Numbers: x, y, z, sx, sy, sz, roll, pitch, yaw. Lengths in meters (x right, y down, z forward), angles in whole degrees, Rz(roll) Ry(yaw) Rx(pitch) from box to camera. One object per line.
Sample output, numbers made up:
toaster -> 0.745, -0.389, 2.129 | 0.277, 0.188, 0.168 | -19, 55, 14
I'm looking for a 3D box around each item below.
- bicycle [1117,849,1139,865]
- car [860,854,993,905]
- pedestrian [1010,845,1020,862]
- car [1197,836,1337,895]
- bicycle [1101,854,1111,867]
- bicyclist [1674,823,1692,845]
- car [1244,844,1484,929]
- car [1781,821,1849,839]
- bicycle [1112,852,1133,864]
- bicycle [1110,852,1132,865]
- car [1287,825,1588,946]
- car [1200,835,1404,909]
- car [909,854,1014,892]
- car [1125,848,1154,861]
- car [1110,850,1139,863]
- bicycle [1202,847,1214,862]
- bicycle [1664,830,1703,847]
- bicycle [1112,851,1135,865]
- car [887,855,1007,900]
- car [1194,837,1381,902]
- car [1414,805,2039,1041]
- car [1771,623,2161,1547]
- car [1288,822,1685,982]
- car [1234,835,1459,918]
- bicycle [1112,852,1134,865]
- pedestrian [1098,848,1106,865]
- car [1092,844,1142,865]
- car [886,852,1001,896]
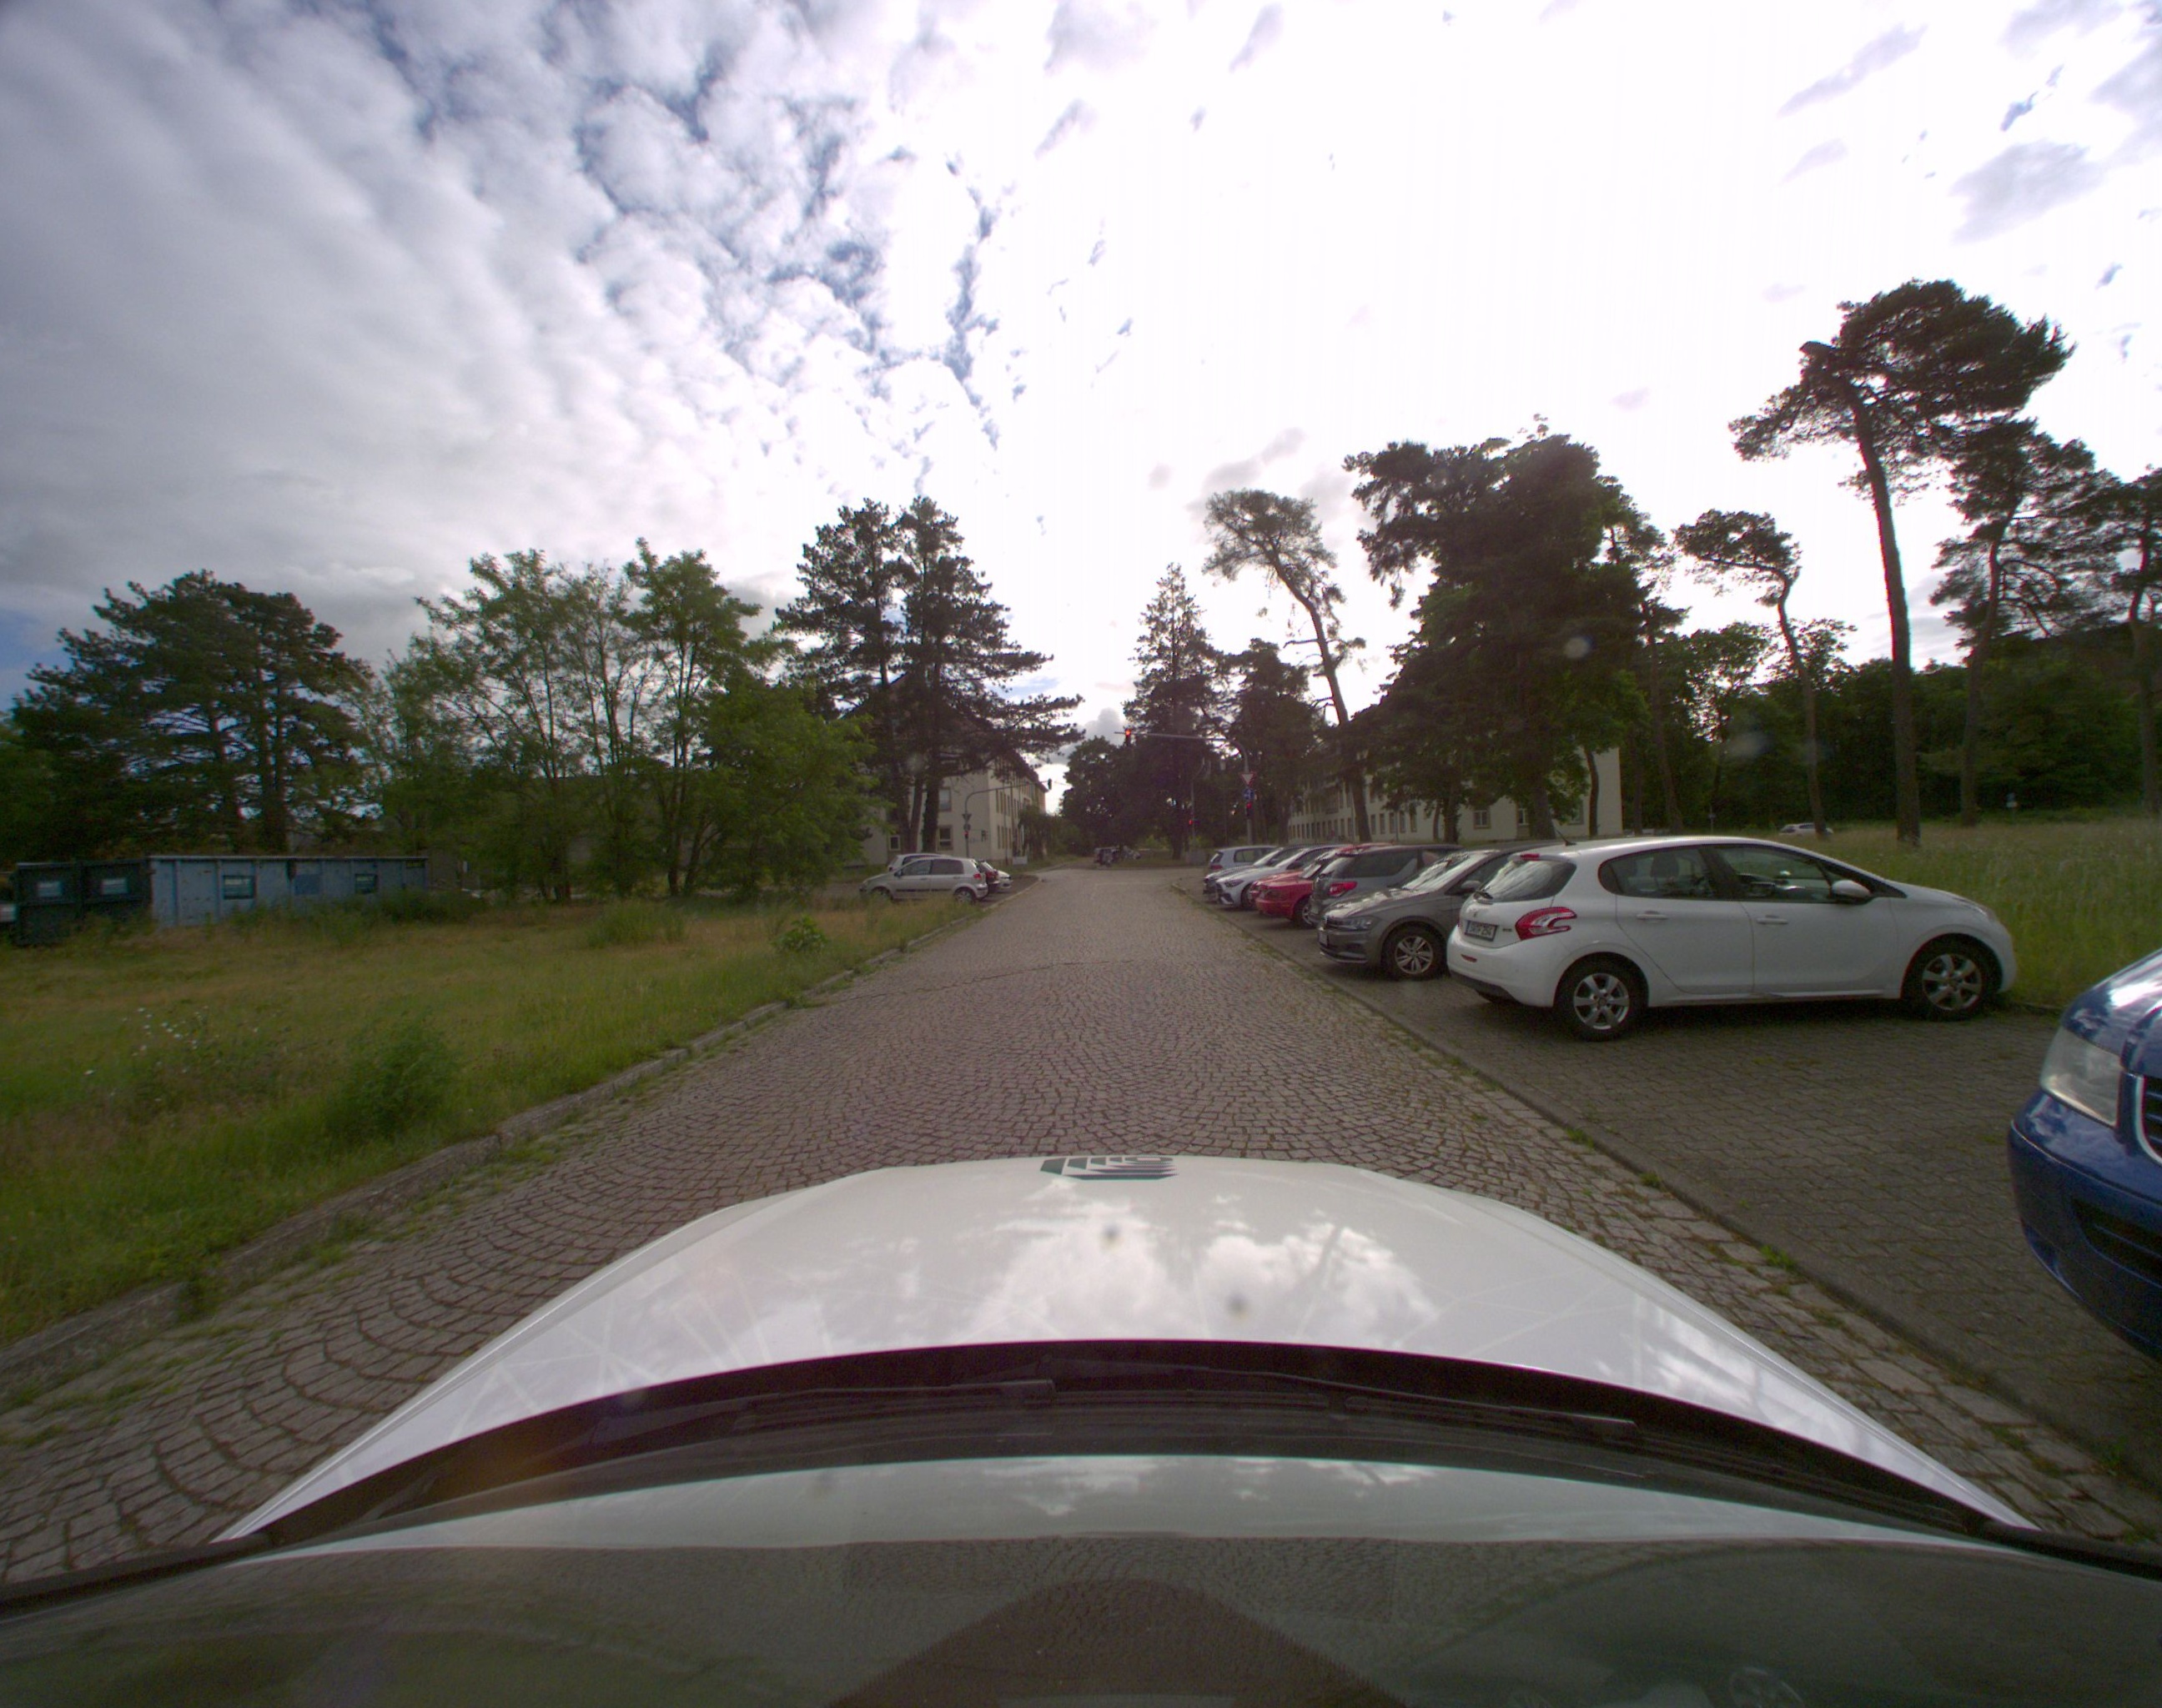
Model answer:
bicycle -> 4.390, 0.295, 75.538 | 1.952, 1.384, 0.587 | -2, 0, -6
car -> -4.598, 0.755, 24.578 | 3.692, 1.479, 1.581 | 0, 0, -2
pedestrian -> -7.282, 0.001, 90.063 | 0.779, 1.837, 0.734 | -2, 0, -30
car -> 5.666, 0.336, 25.172 | 3.911, 1.477, 1.644 | -4, 0, 3
bicycle -> 2.171, 0.551, 70.920 | 0.602, 1.132, 1.959 | -2, 0, -4
bicyclist -> 39.236, -1.289, 53.089 | 0.744, 1.410, 0.607 | -2, 0, 13
car -> 5.173, 0.566, 15.269 | 3.849, 1.236, 1.758 | -4, 0, 0
car -> 59.876, -1.940, 66.484 | 3.930, 1.421, 1.652 | 0, 0, 4
bicycle -> 3.965, 0.414, 77.550 | 1.966, 1.069, 0.582 | -2, 0, -28
bicycle -> 3.770, 0.423, 76.203 | 1.966, 1.069, 0.582 | -2, 0, -28
car -> 5.374, 0.446, 12.653 | 3.849, 1.472, 1.758 | -4, 0, 0
car -> 5.363, 0.408, 20.037 | 4.419, 1.416, 1.866 | -4, 0, -8
car -> -4.717, 0.742, 32.505 | 3.934, 1.421, 1.650 | 0, 0, 1
car -> 6.914, 0.050, 95.999 | 3.223, 1.416, 1.724 | -3, 0, -1
car -> 4.762, 0.314, 88.786 | 3.000, 1.268, 1.533 | -3, 0, -4
bicycle -> 9.646, 0.042, 61.846 | 0.584, 1.106, 1.962 | -2, 0, 2
bicycle -> 39.255, -0.999, 53.096 | 1.941, 1.024, 0.607 | -2, 0, 13
bicycle -> 3.870, 0.376, 74.083 | 1.952, 1.132, 0.587 | -2, 0, -6
car -> -4.417, 0.769, 27.174 | 3.735, 1.428, 1.581 | 0, 0, -2
car -> 5.666, 0.409, 22.719 | 4.667, 1.416, 1.870 | -4, 0, -1
car -> 5.147, 0.508, 6.915 | 3.849, 1.472, 1.758 | -4, 0, 0
car -> 4.624, 0.335, 1.576 | 4.792, 1.945, 2.003 | -4, 0, 0
car -> 4.685, 0.516, 9.793 | 3.853, 1.472, 1.756 | -4, 0, -3
car -> 5.663, 0.454, 17.761 | 4.246, 1.416, 1.872 | -4, 0, 1
bicycle -> 3.828, 0.400, 74.718 | 1.952, 1.117, 0.587 | -2, 0, -6
pedestrian -> 1.984, 0.229, 76.641 | 0.735, 1.618, 0.777 | -3, 0, 3
car -> 4.064, 0.059, 92.175 | 5.357, 1.925, 2.020 | -4, 0, -8
car -> -4.998, 0.719, 29.967 | 3.936, 1.563, 1.649 | 0, 0, -2
